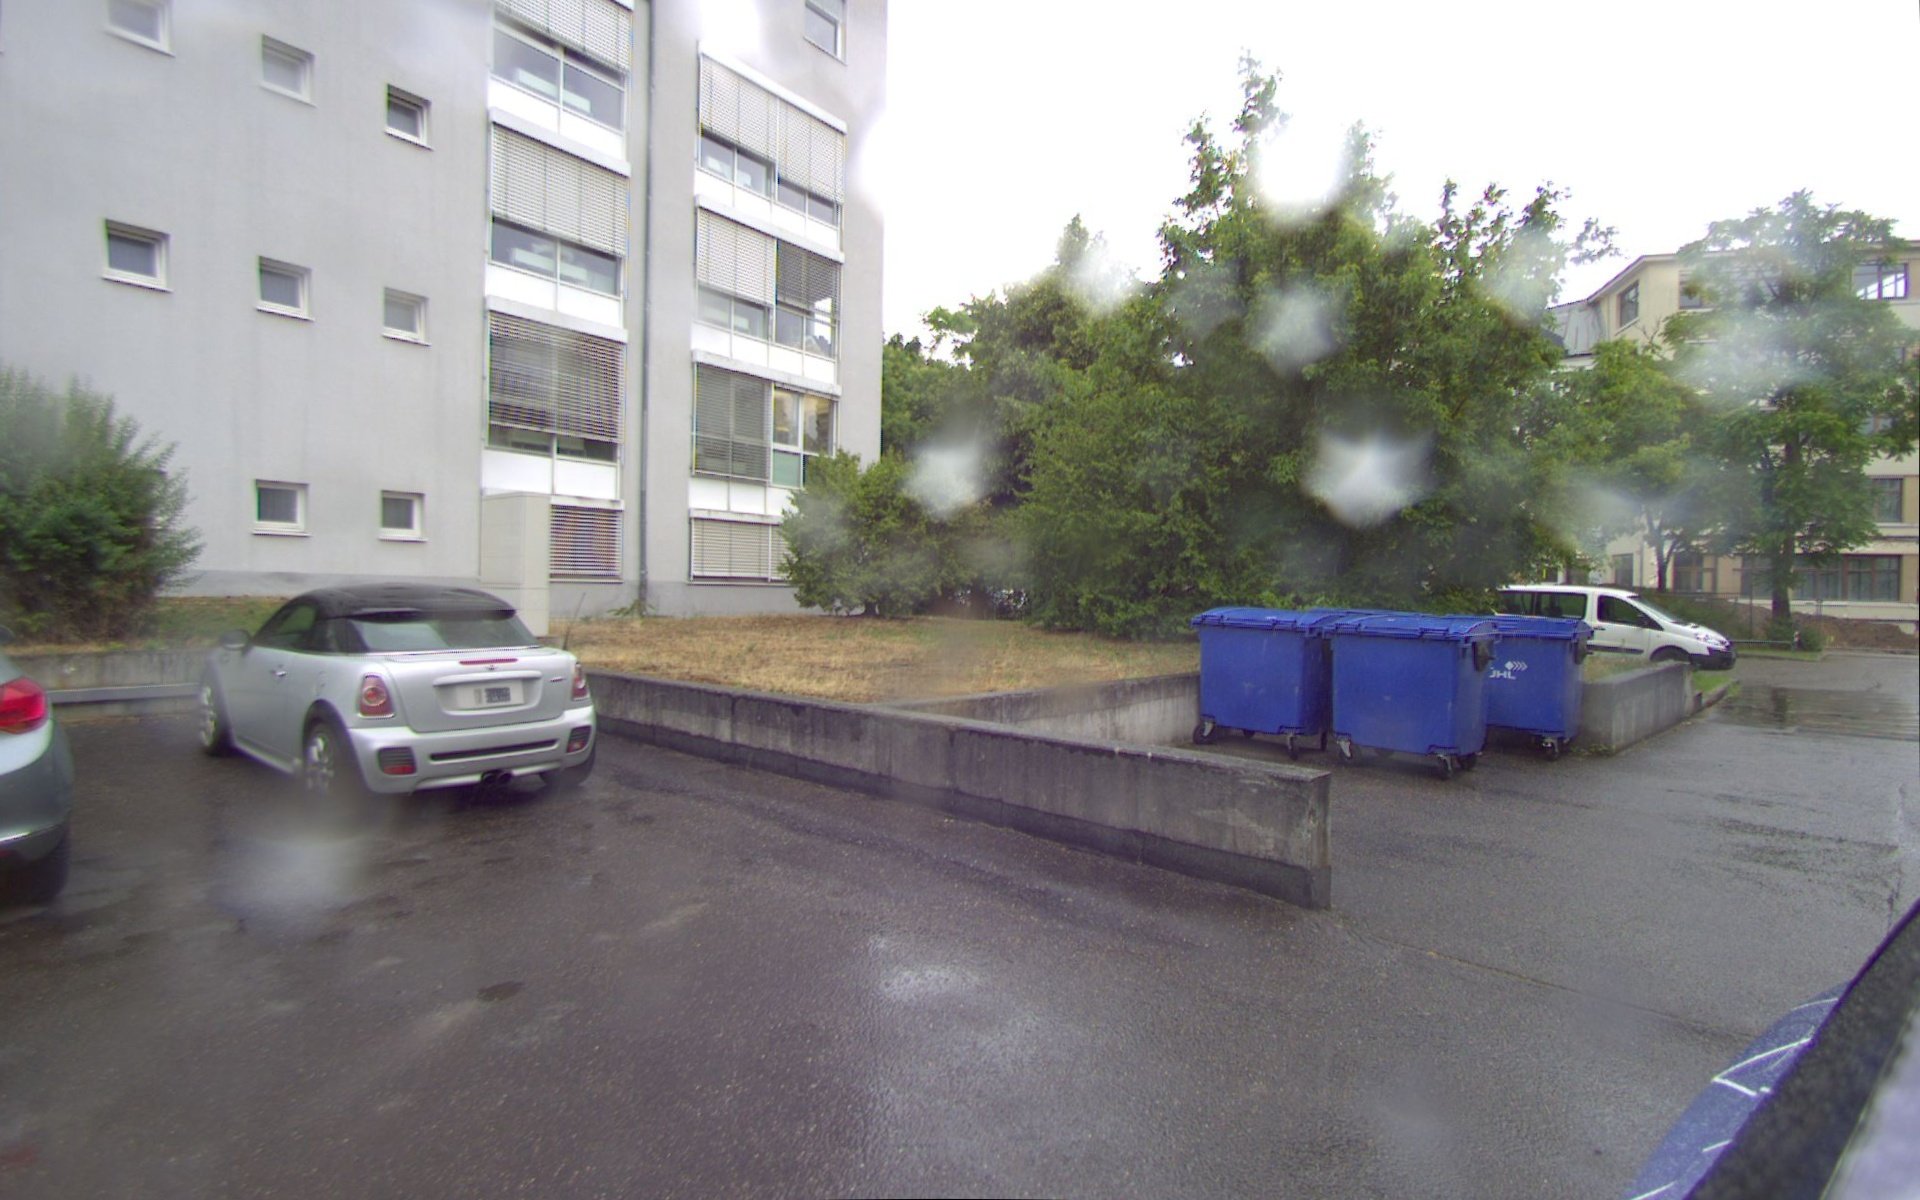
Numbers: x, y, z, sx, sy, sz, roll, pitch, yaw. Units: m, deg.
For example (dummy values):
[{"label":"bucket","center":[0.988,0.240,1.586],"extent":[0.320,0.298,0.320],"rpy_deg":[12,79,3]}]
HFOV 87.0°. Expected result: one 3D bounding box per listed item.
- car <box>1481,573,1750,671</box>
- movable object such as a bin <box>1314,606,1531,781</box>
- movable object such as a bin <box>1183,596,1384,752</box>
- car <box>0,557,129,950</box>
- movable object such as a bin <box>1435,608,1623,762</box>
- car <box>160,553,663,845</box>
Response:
[{"label":"car","center":[14.330,0.489,22.306],"extent":[4.683,1.906,2.088],"rpy_deg":[0,-3,45]},{"label":"movable object such as a bin","center":[4.219,0.777,9.172],"extent":[1.308,1.375,1.876],"rpy_deg":[0,-2,42]},{"label":"movable object such as a bin","center":[3.249,0.684,10.062],"extent":[1.228,1.375,1.940],"rpy_deg":[0,-2,42]},{"label":"car","center":[-5.679,0.539,4.714],"extent":[4.200,1.508,1.972],"rpy_deg":[1,0,39]},{"label":"movable object such as a bin","center":[5.805,0.803,10.276],"extent":[1.308,1.375,1.876],"rpy_deg":[0,-2,42]},{"label":"car","center":[-4.332,0.497,7.706],"extent":[4.204,1.508,1.971],"rpy_deg":[4,2,41]}]
